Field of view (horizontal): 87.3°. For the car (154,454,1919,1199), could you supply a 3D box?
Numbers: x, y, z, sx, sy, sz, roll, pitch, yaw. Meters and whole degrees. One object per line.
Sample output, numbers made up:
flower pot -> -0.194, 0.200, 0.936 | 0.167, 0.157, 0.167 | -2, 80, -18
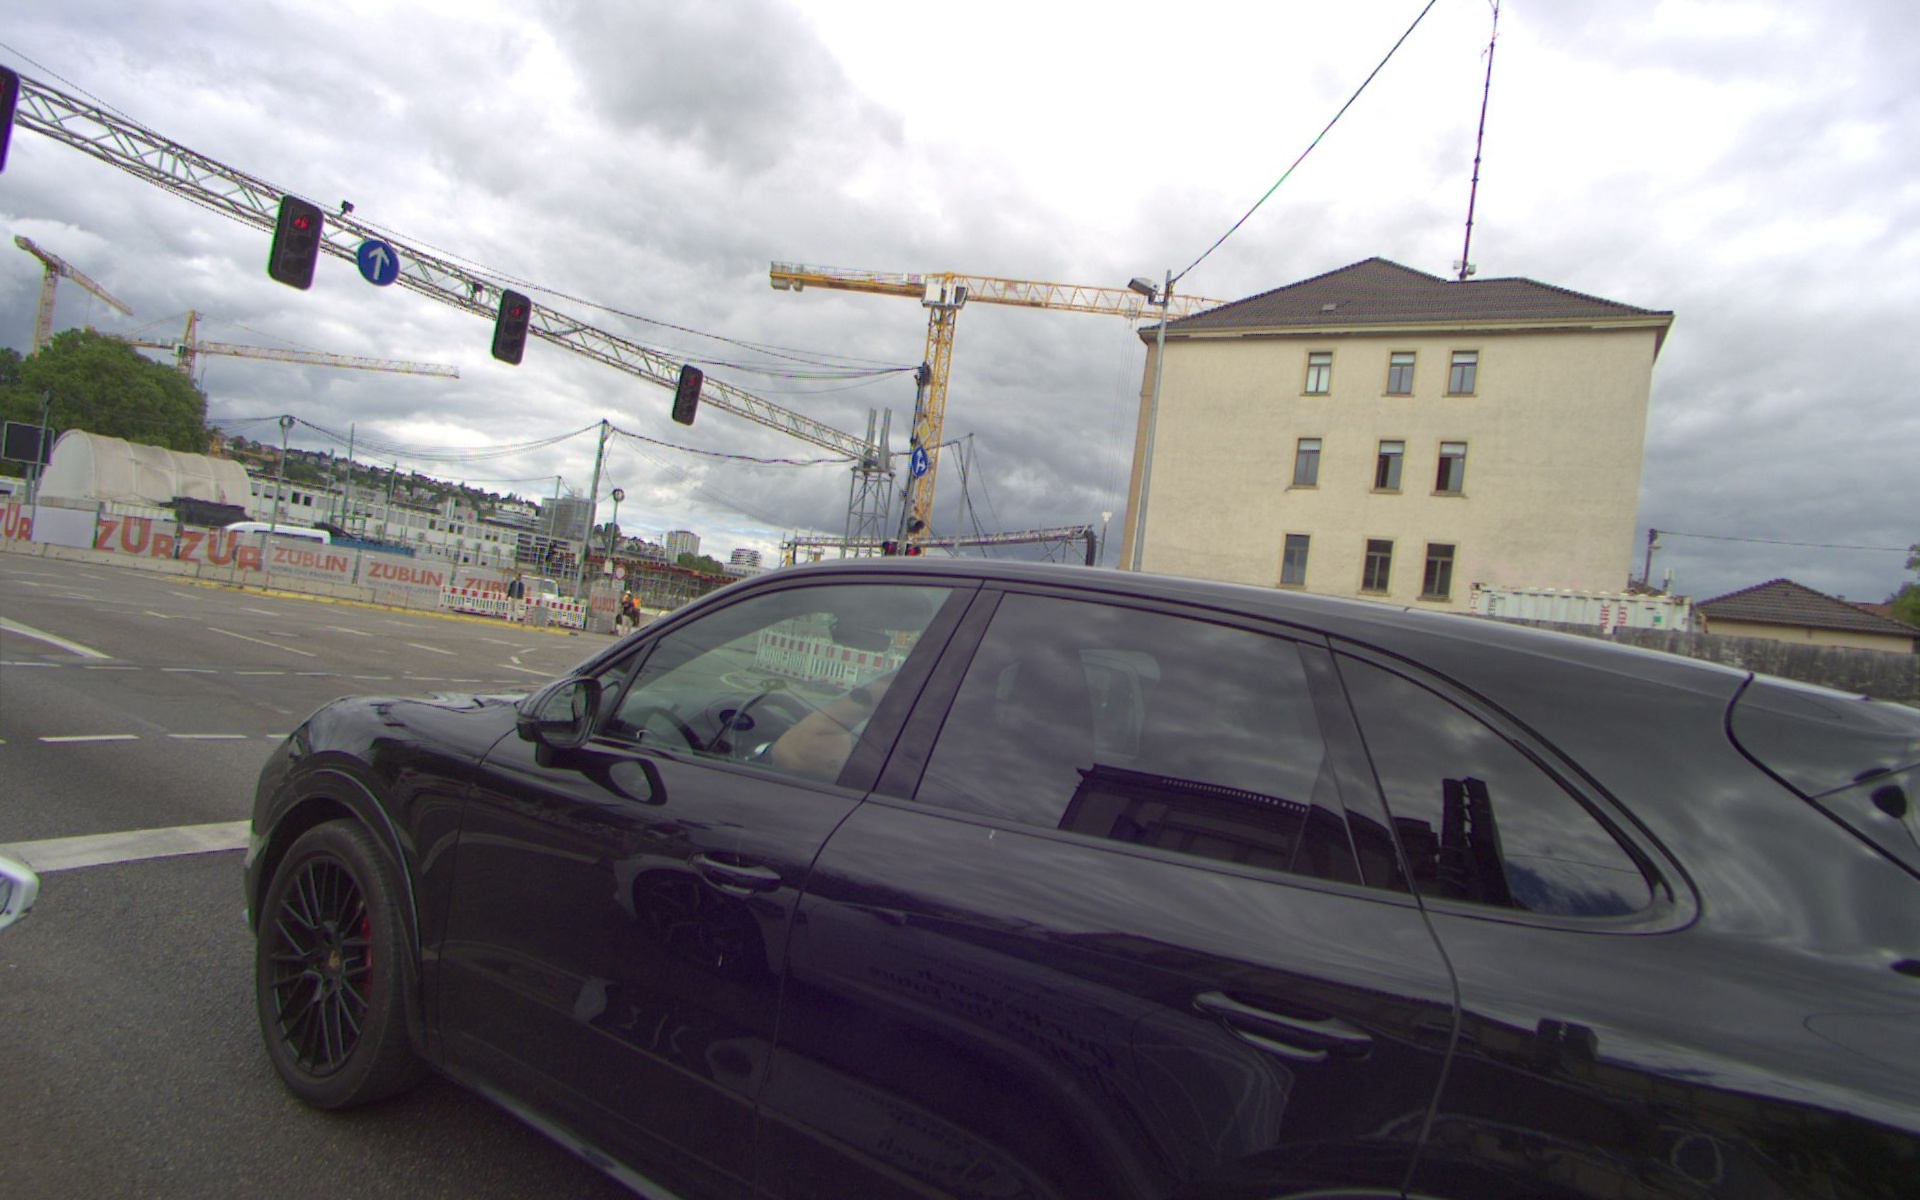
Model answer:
car -> 0.006, 0.685, 2.715 | 4.505, 1.687, 1.996 | 6, -2, 34

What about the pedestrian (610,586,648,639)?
pedestrian -> -13.648, 0.523, 41.543 | 1.027, 2.037, 1.034 | 7, -1, -2

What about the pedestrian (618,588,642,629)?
pedestrian -> -17.637, 0.444, 53.824 | 0.855, 2.037, 0.677 | 6, -1, 44

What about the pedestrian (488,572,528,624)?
pedestrian -> -17.565, -0.091, 39.116 | 1.040, 1.869, 0.781 | 8, -1, -42

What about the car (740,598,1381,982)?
car -> 0.587, 0.994, 6.552 | 3.587, 1.527, 1.825 | 6, -2, 33

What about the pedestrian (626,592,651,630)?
pedestrian -> -17.511, 0.597, 54.768 | 0.850, 1.938, 0.680 | 7, -1, 26

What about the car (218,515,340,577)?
car -> -29.520, -2.327, 43.640 | 3.976, 2.037, 1.976 | 9, -2, -43
